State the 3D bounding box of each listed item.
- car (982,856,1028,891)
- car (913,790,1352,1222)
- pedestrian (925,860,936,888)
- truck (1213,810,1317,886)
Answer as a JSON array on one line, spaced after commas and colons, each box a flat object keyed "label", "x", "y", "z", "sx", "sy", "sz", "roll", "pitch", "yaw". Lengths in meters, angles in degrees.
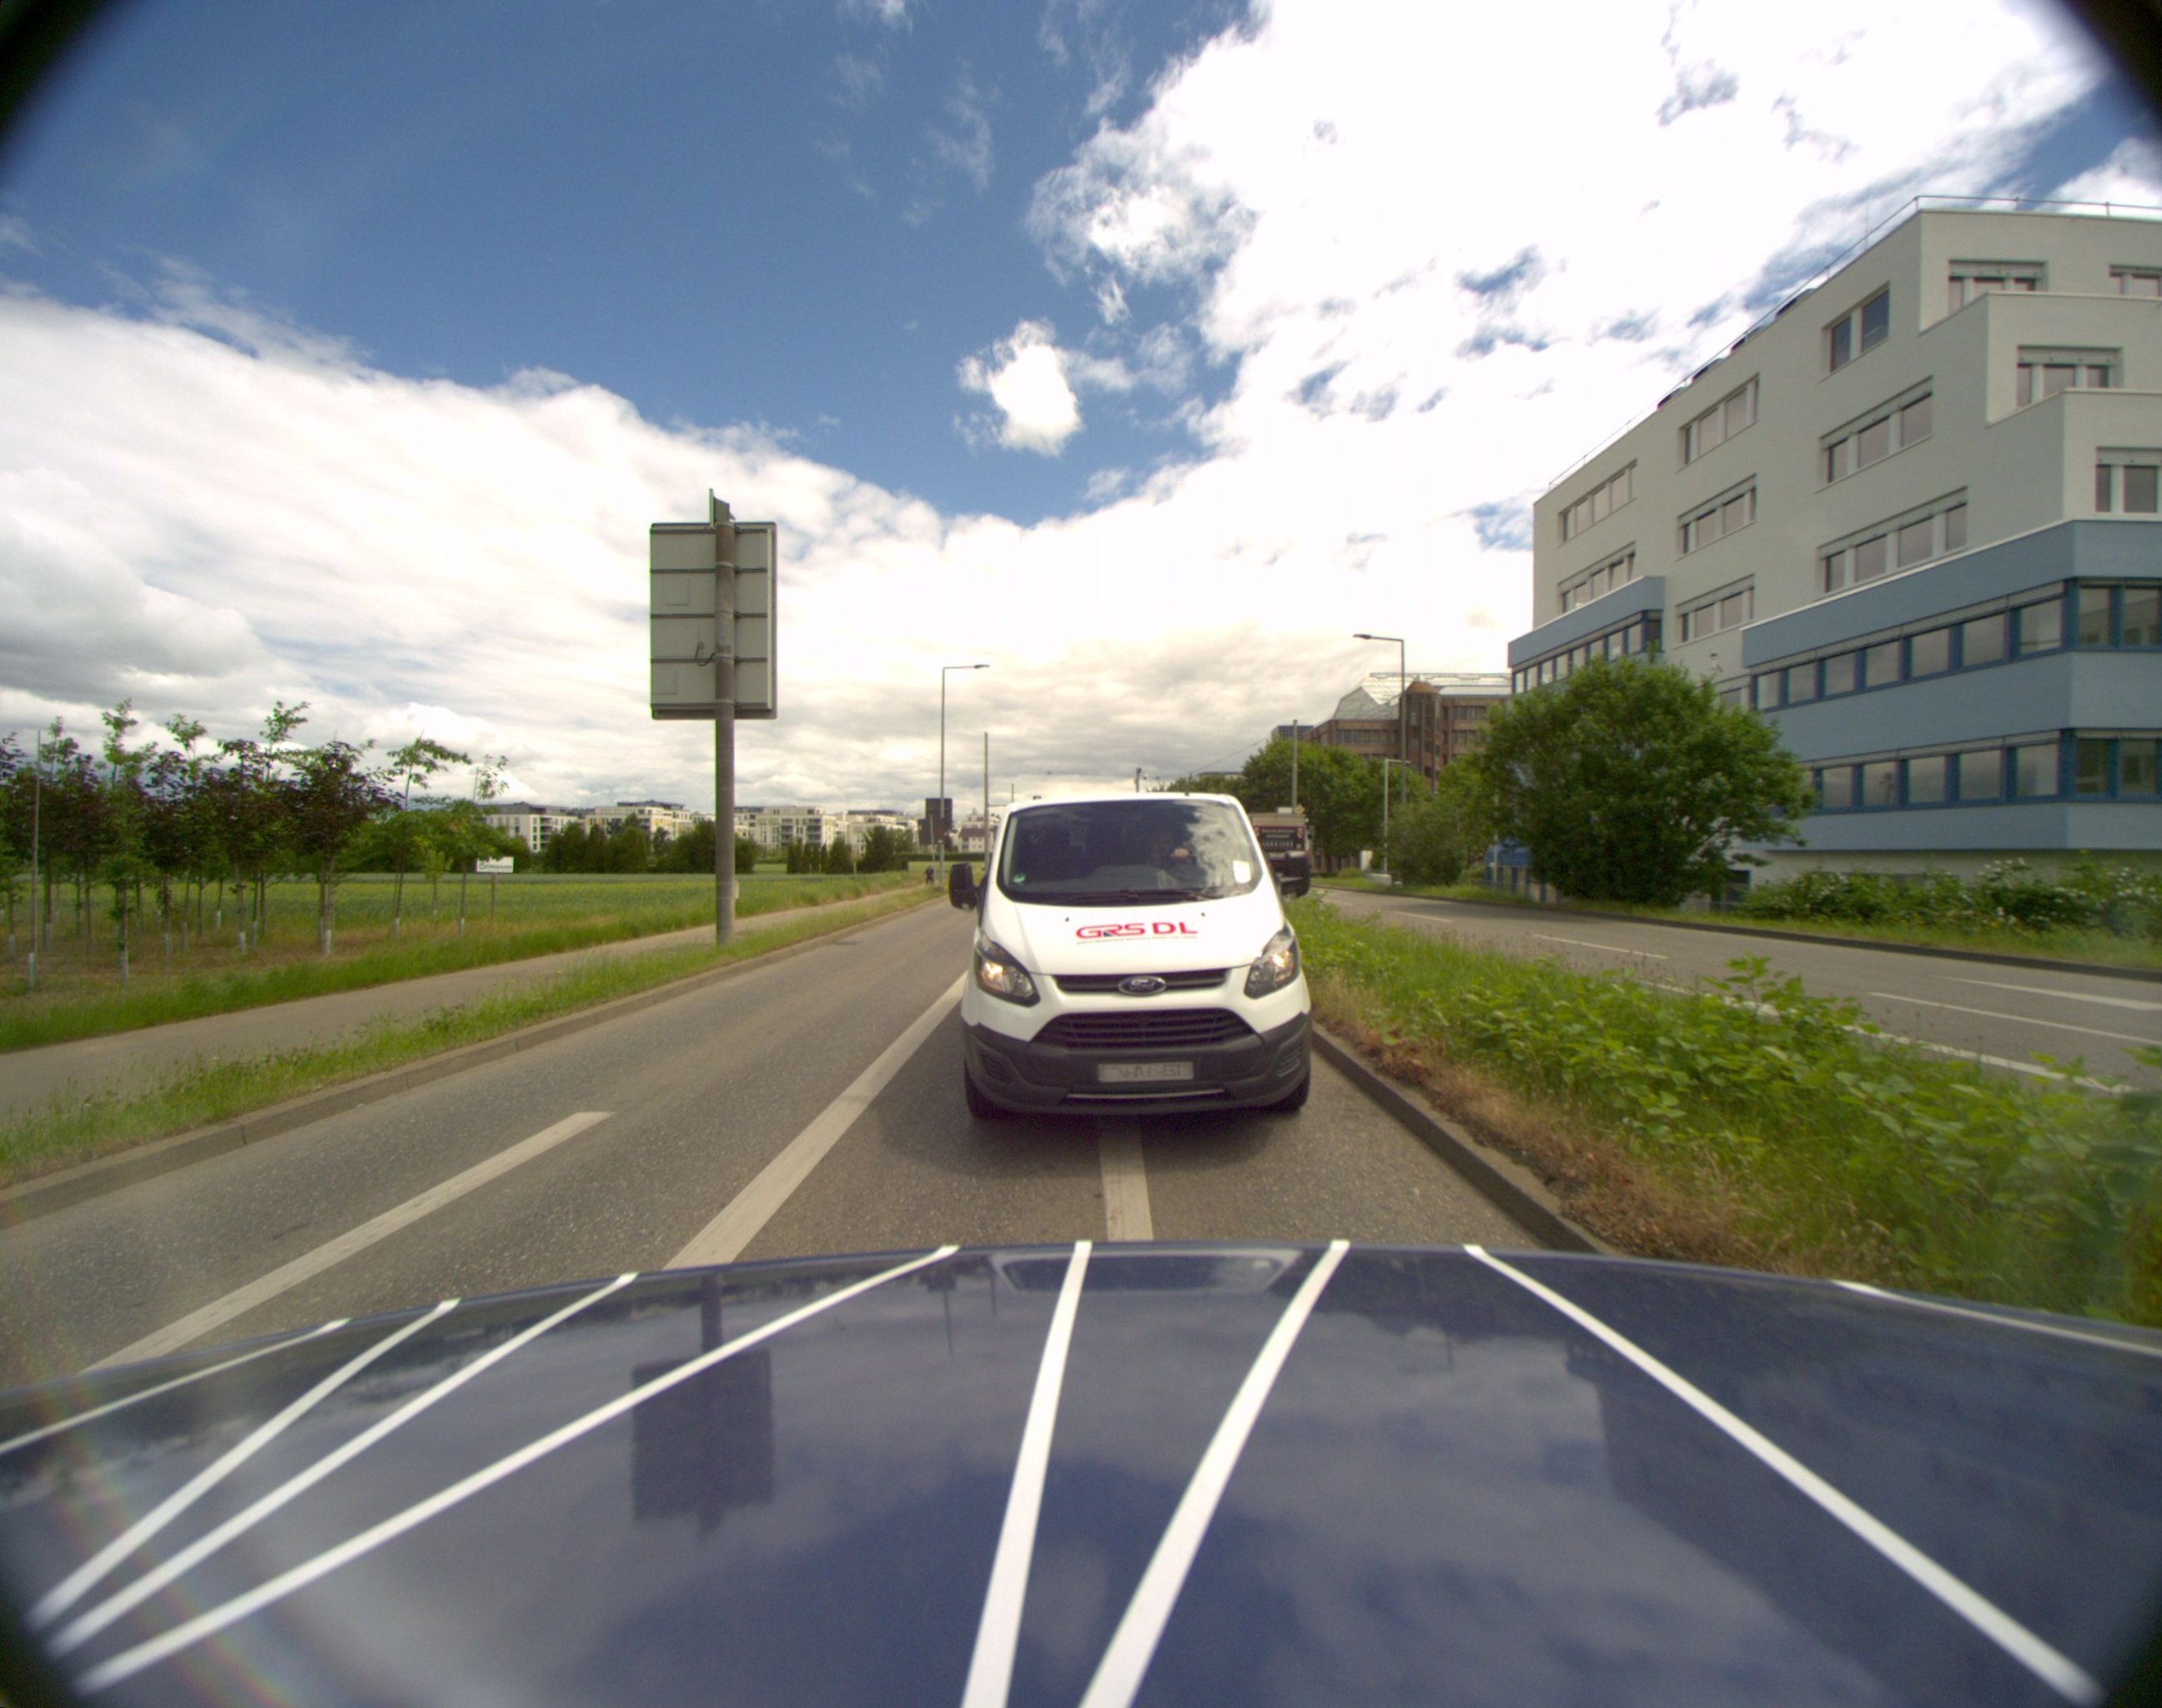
[{"label": "car", "x": -3.385, "y": 0.853, "z": 34.385, "sx": 1.683, "sy": 1.410, "sz": 3.739, "roll": -1, "pitch": 1, "yaw": -1}, {"label": "car", "x": 0.270, "y": 0.698, "z": 6.020, "sx": 1.968, "sy": 1.938, "sz": 5.055, "roll": -2, "pitch": 0, "yaw": 1}, {"label": "pedestrian", "x": -9.150, "y": 1.216, "z": 46.188, "sx": 0.492, "sy": 1.693, "sz": 0.626, "roll": -2, "pitch": 1, "yaw": -1}, {"label": "truck", "x": 9.395, "y": -0.320, "z": 40.160, "sx": 3.176, "sy": 3.497, "sz": 9.525, "roll": 0, "pitch": 1, "yaw": 0}]
